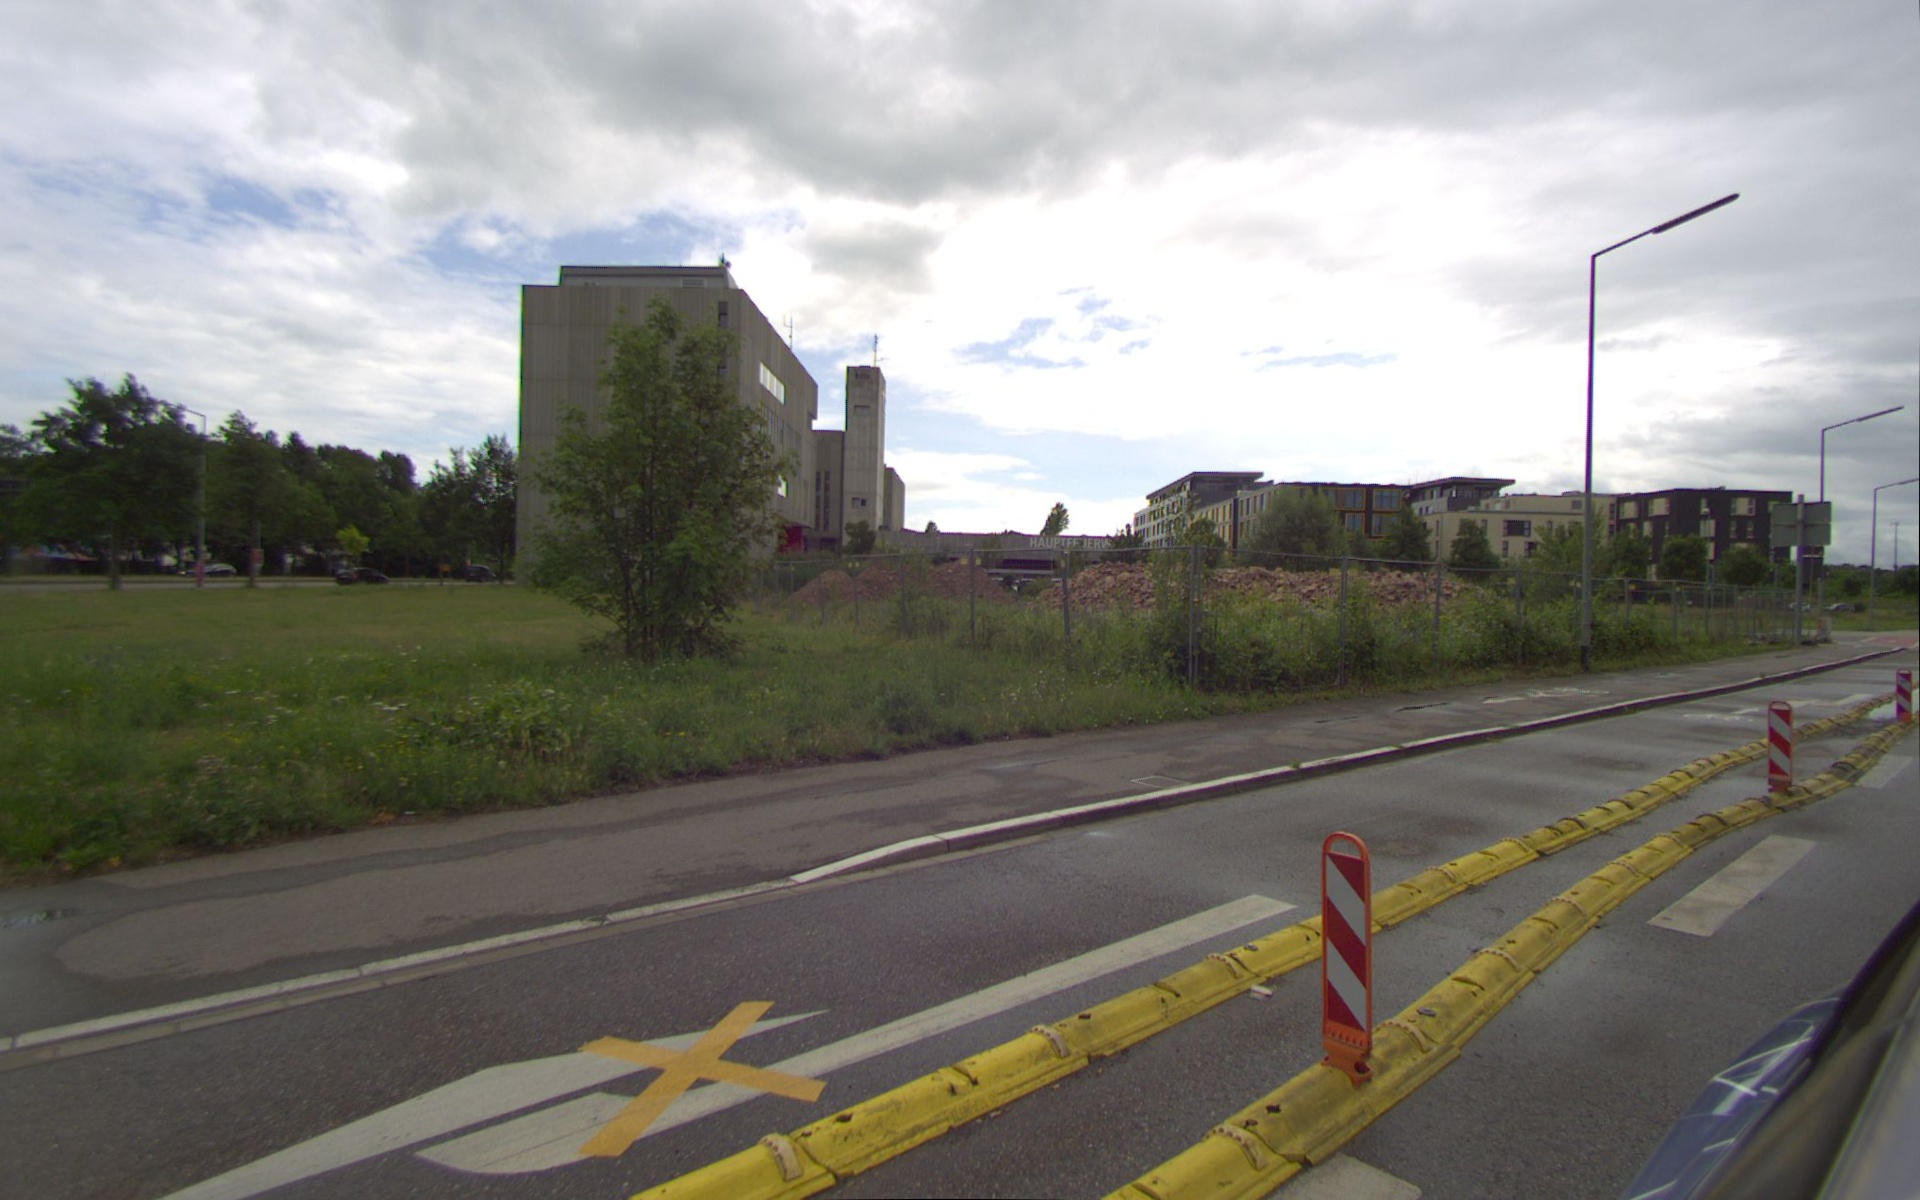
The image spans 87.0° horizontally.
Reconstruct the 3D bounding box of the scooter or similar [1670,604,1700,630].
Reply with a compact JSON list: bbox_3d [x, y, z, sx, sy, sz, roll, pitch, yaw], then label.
[{"bbox_3d":[35.083,0.810,48.978,0.437,1.200,1.327,1,1,-1],"label":"scooter or similar"}]

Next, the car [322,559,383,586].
[{"bbox_3d":[-44.711,-2.016,74.606,2.038,1.836,4.210,1,1,-1],"label":"car"}]

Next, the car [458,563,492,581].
[{"bbox_3d":[-50.902,-2.967,106.286,1.827,1.804,4.002,1,1,-2],"label":"car"}]

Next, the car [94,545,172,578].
[{"bbox_3d":[-55.450,-2.549,67.938,1.962,2.039,4.001,1,1,0],"label":"car"}]

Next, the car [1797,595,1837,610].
[{"bbox_3d":[122.826,0.304,145.057,3.924,2.039,2.000,2,1,0],"label":"car"}]

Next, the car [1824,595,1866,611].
[{"bbox_3d":[121.113,0.384,138.533,3.924,2.039,2.000,2,1,0],"label":"car"}]
